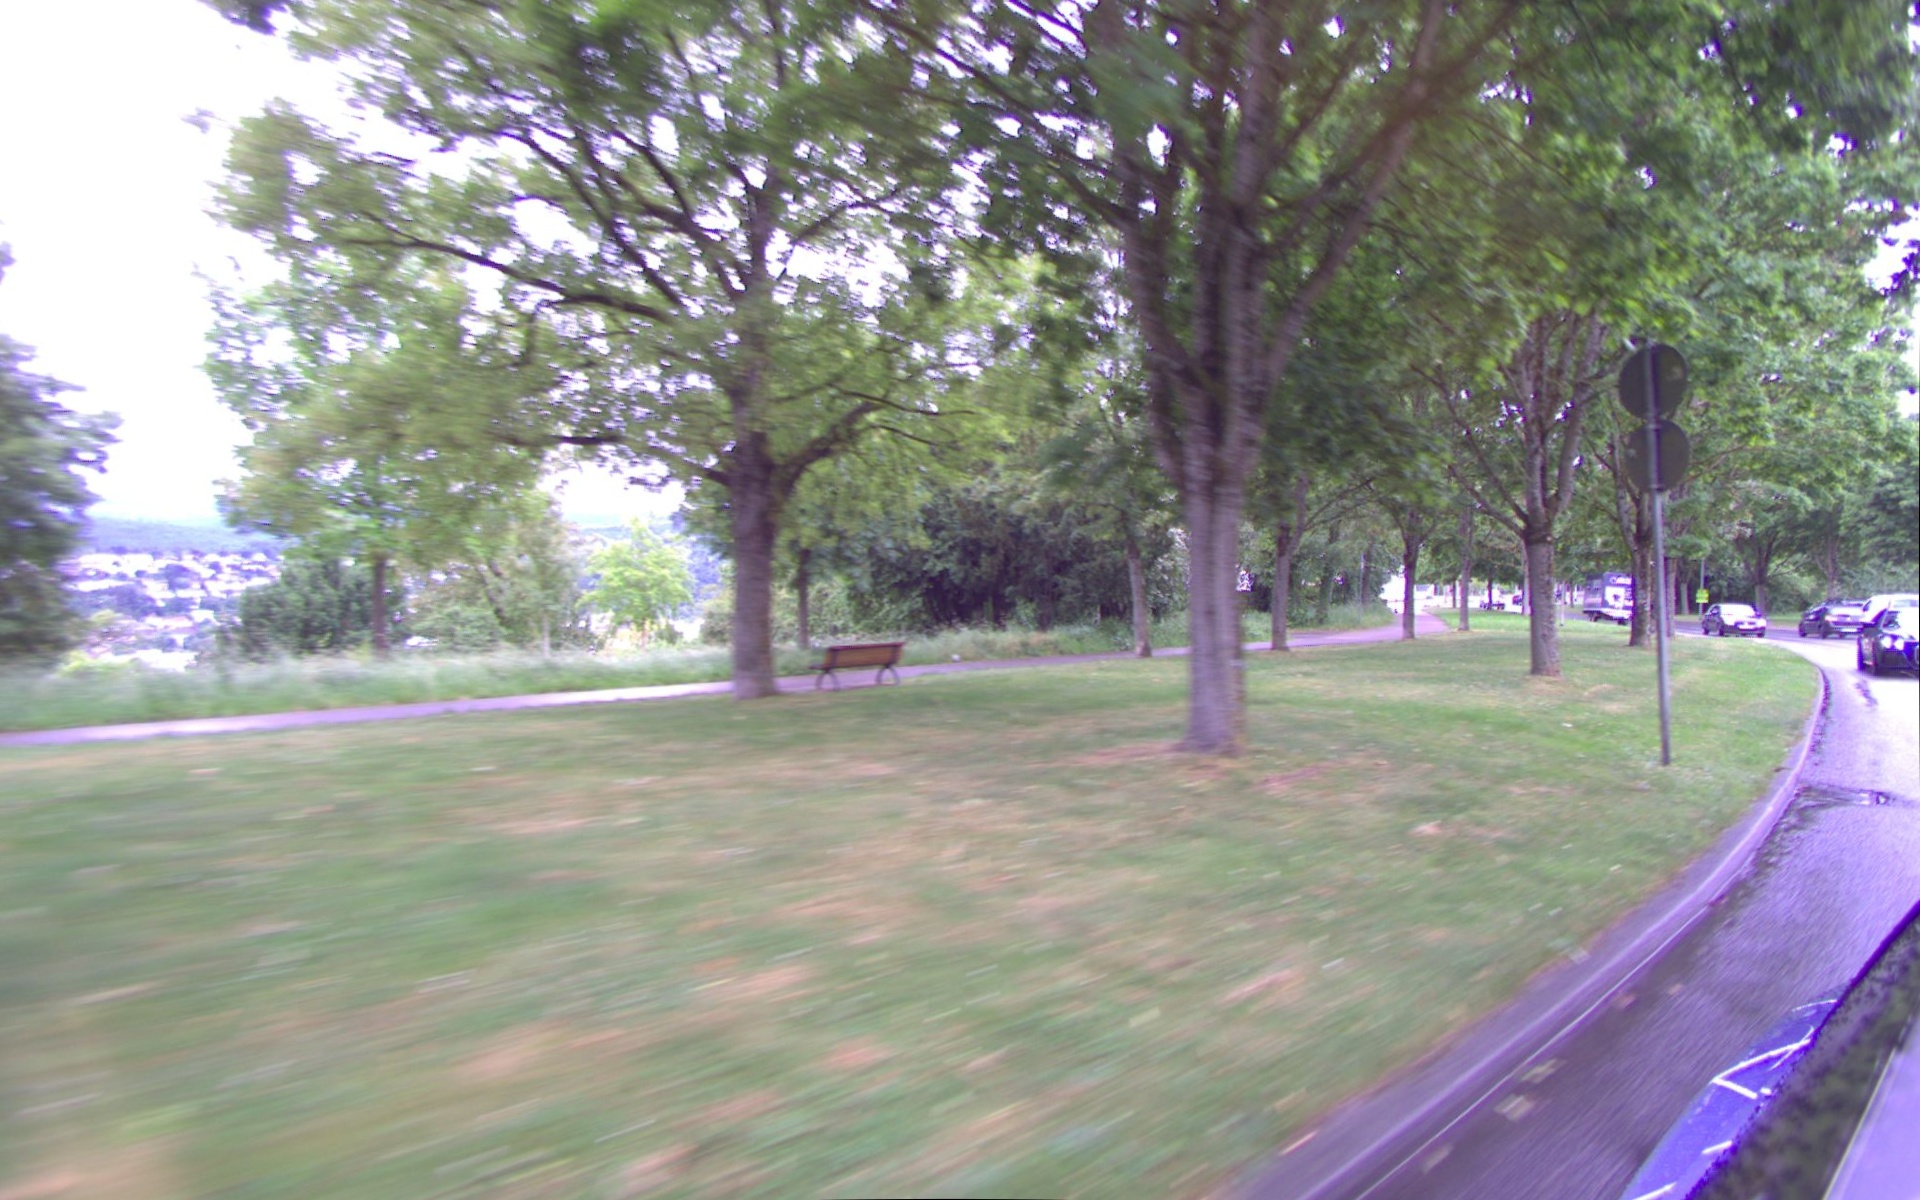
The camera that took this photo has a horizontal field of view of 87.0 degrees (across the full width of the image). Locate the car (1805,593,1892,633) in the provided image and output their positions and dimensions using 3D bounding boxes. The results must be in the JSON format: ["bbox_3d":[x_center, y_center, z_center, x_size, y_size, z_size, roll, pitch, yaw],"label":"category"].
[{"bbox_3d":[38.379,0.519,43.833,1.982,1.636,3.960,0,1,29],"label":"car"}]

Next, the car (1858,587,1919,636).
[{"bbox_3d":[42.608,0.468,45.859,1.982,2.115,3.960,0,0,29],"label":"car"}]

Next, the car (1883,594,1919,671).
[{"bbox_3d":[21.212,0.671,21.741,3.935,1.529,1.836,-1,2,-45],"label":"car"}]

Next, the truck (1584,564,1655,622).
[{"bbox_3d":[37.062,-0.396,57.007,2.120,3.084,5.136,0,0,19],"label":"truck"}]

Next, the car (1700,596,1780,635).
[{"bbox_3d":[35.784,0.668,46.539,1.978,1.636,3.968,0,1,24],"label":"car"}]

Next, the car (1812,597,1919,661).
[{"bbox_3d":[24.404,0.716,26.899,1.949,1.557,4.012,0,1,29],"label":"car"}]
